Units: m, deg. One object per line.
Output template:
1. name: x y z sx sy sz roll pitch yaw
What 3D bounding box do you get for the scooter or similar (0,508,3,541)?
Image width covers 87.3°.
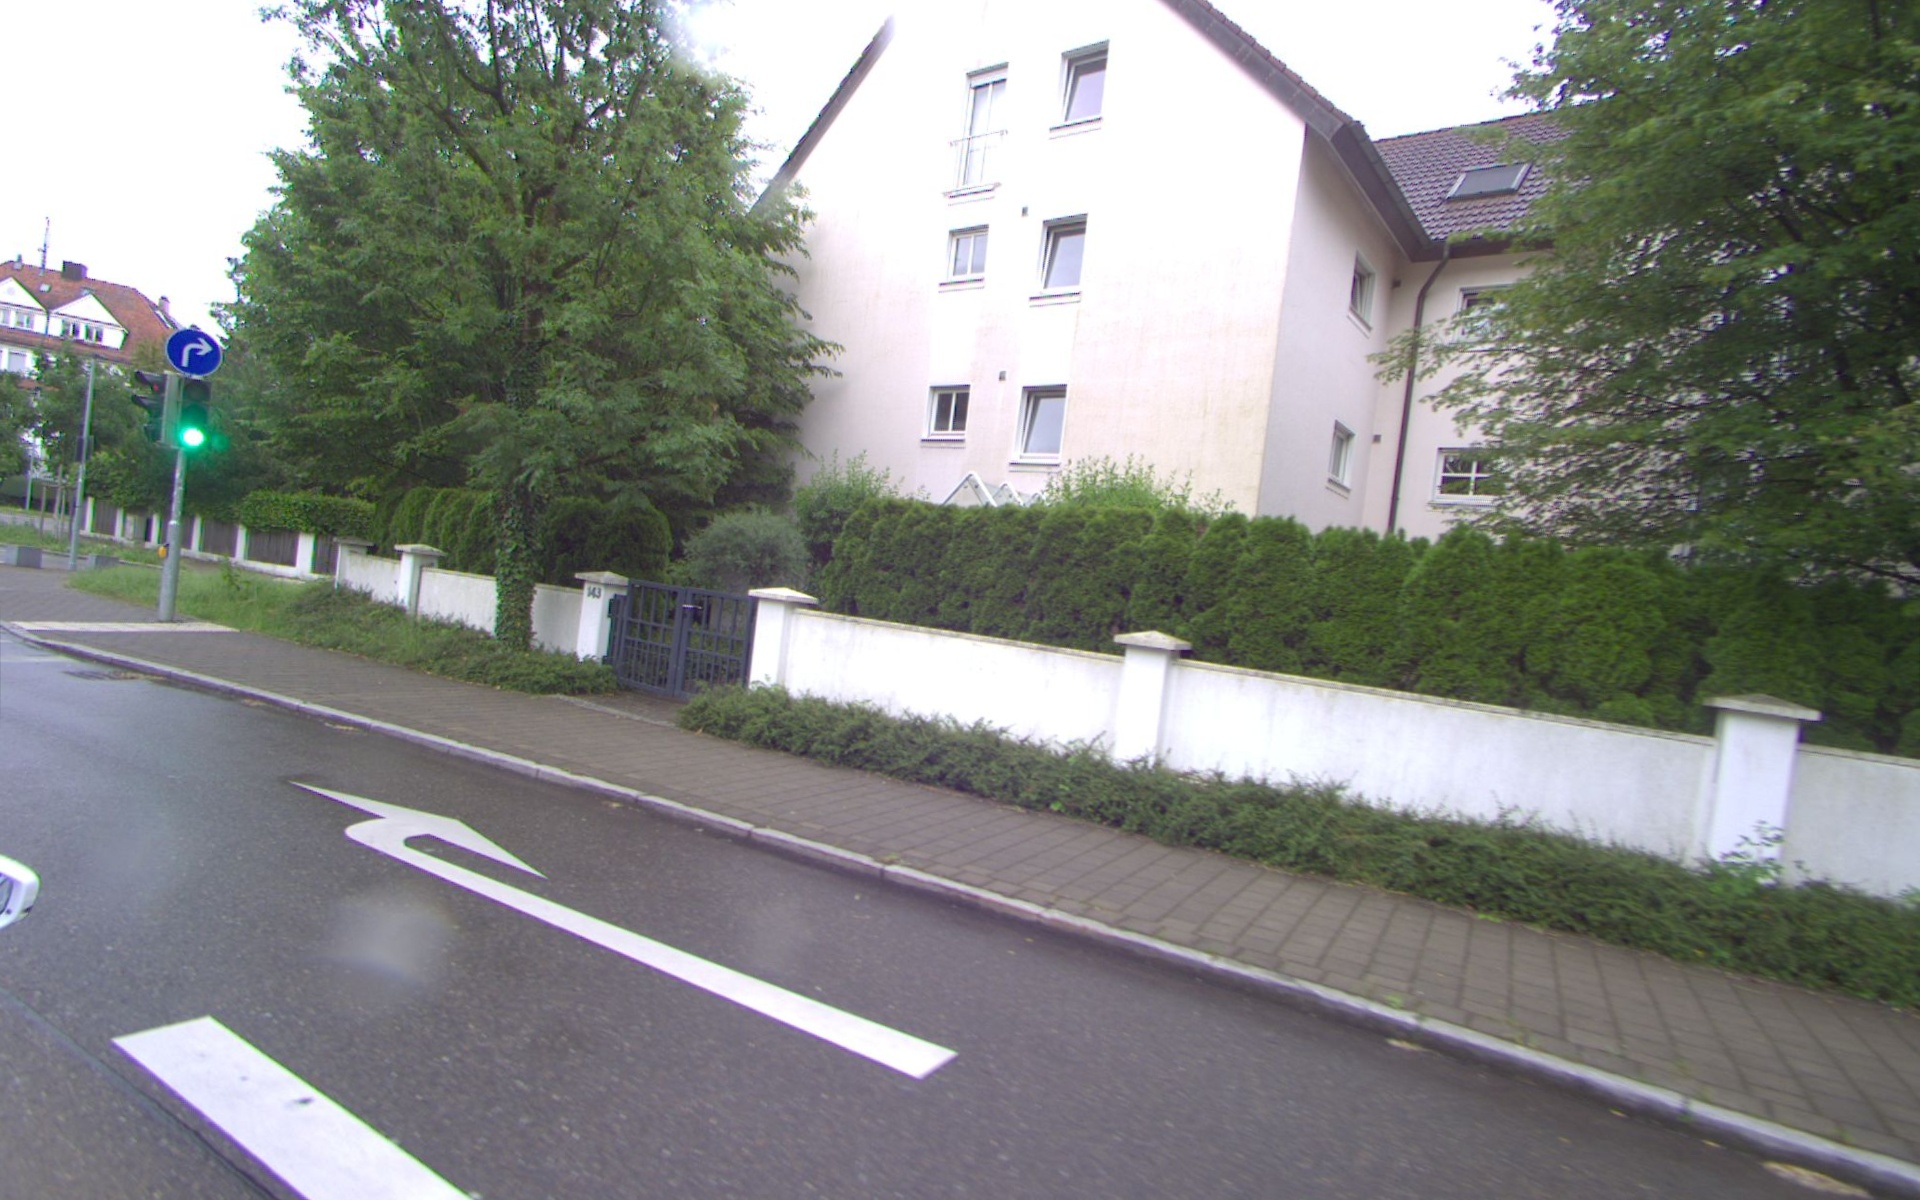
1. scooter or similar: -20.420 -1.353 20.533 0.399 1.233 1.150 5 -1 31
